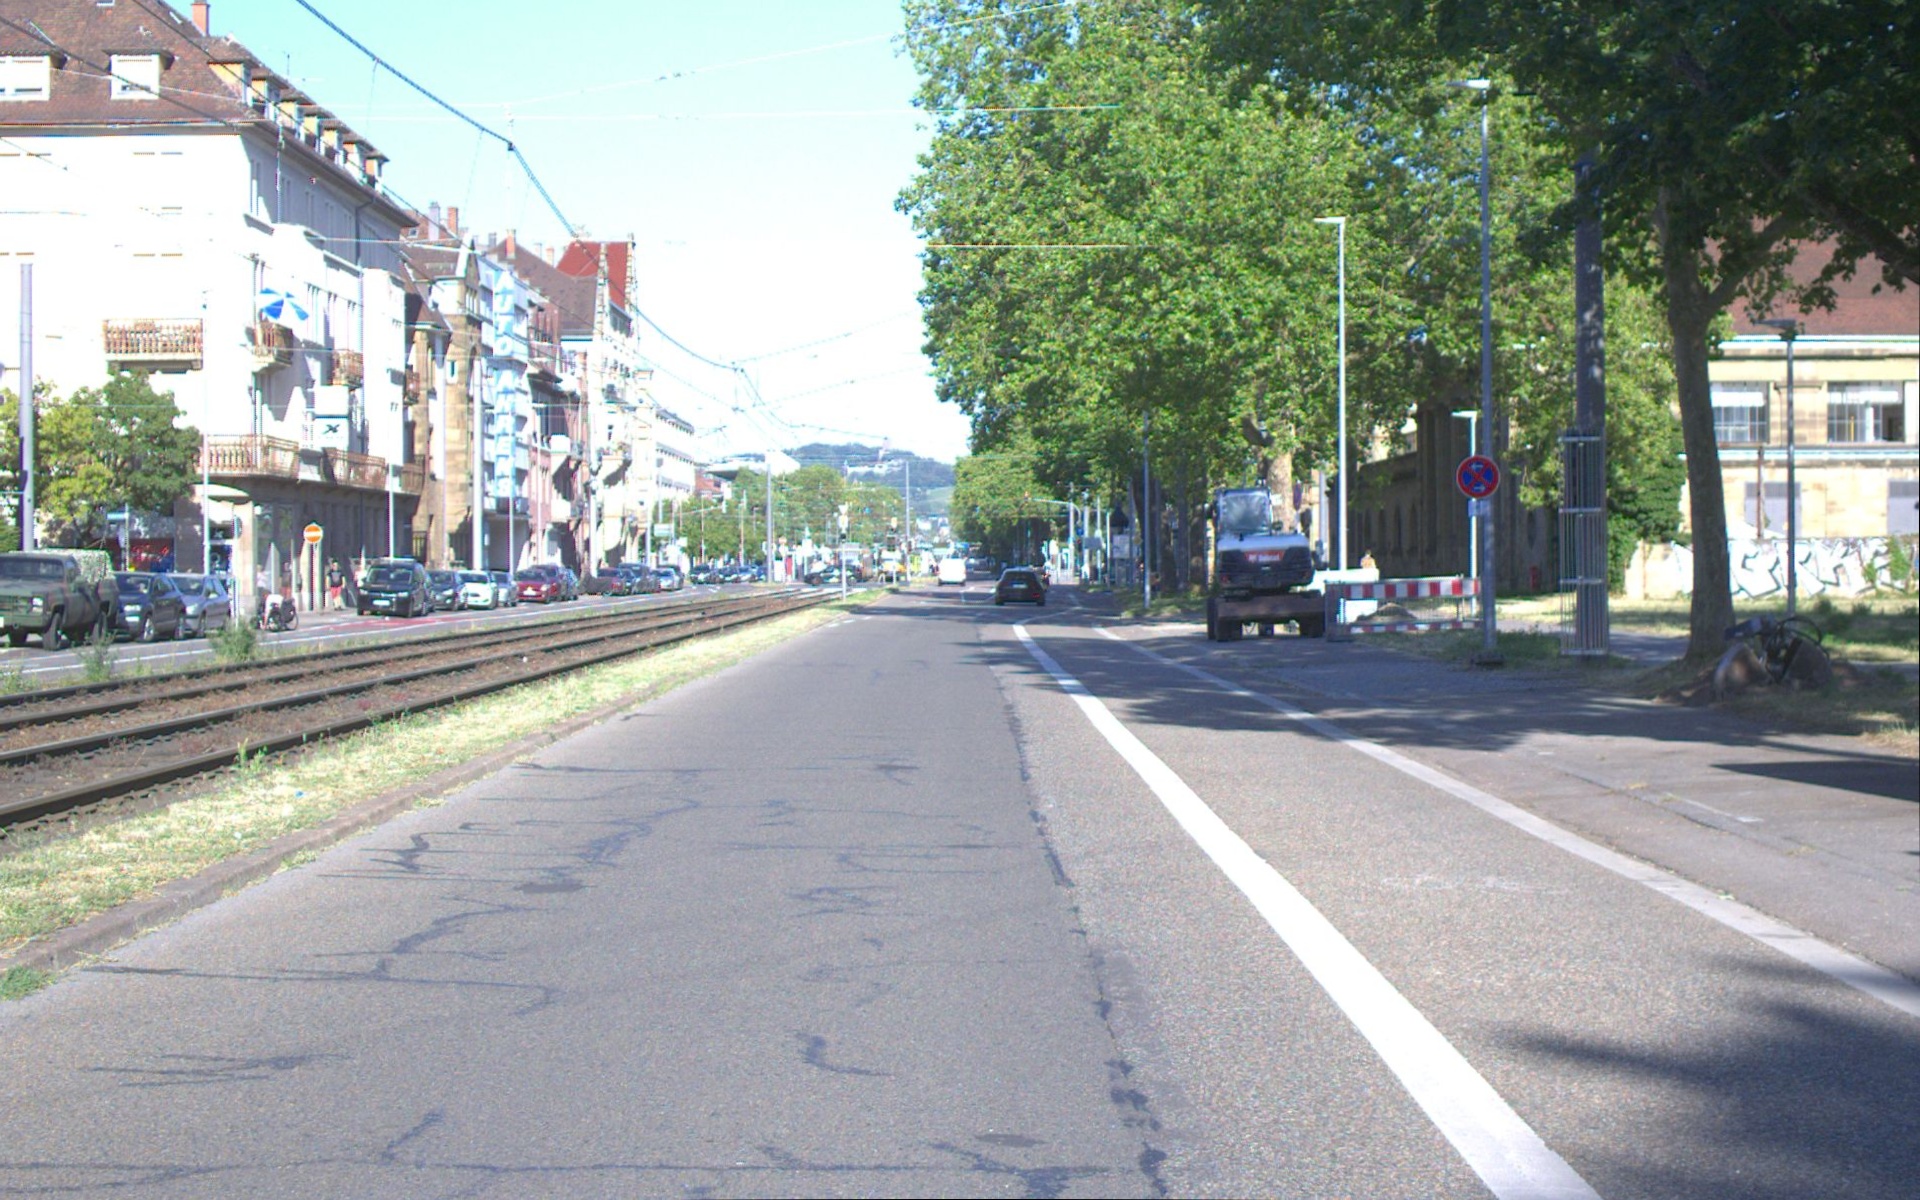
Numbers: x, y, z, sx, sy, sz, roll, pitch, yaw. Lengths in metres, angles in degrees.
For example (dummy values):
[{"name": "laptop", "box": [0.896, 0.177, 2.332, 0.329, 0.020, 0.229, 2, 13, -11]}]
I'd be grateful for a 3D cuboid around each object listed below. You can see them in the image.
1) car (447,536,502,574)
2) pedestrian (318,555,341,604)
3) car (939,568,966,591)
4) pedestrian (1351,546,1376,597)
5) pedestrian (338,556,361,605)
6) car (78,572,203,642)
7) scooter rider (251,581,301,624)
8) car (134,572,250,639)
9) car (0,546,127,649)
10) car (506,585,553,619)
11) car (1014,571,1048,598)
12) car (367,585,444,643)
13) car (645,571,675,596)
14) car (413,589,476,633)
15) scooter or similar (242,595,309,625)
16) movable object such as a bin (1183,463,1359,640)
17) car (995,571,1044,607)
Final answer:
[{"name": "car", "box": [-19.698, -1.836, 139.607, 1.635, 1.464, 4.159, 1, 1, 0]}, {"name": "pedestrian", "box": [-22.073, -0.710, 120.380, 0.589, 1.691, 0.857, 2, 0, 2]}, {"name": "car", "box": [-0.538, -1.414, 238.257, 1.794, 1.505, 4.000, 2, 0, -1]}, {"name": "pedestrian", "box": [13.572, -0.963, 115.645, 0.608, 1.676, 0.636, -4, 0, -2]}, {"name": "pedestrian", "box": [-21.375, -0.689, 120.372, 0.589, 1.691, 0.857, 2, 0, 2]}, {"name": "car", "box": [-18.258, 0.162, 76.760, 1.635, 1.502, 4.158, 1, 0, 2]}, {"name": "scooter rider", "box": [-17.830, 0.064, 89.640, 0.977, 1.085, 0.807, -1, 1, 31]}, {"name": "car", "box": [-18.443, 0.133, 82.721, 1.794, 1.505, 4.000, 2, 0, 1]}, {"name": "car", "box": [-18.955, -0.088, 70.684, 2.077, 2.003, 5.591, 2, 0, 2]}, {"name": "car", "box": [-19.003, 0.064, 151.926, 1.833, 1.386, 4.036, 3, 0, -5]}, {"name": "car", "box": [4.051, -0.892, 195.954, 1.794, 1.505, 4.000, 0, 0, -1]}, {"name": "car", "box": [-18.360, 0.447, 114.035, 1.862, 1.780, 4.402, 2, 1, -1]}, {"name": "car", "box": [-19.087, -1.048, 218.859, 1.794, 1.505, 4.001, 3, 0, -4]}, {"name": "car", "box": [-18.714, 0.376, 124.858, 1.635, 1.464, 4.159, 3, 0, -1]}, {"name": "scooter or similar", "box": [-17.864, 0.265, 89.660, 1.567, 0.768, 0.807, -1, 1, 31]}, {"name": "movable object such as a bin", "box": [6.015, -0.947, 67.515, 2.744, 3.135, 7.219, -3, 1, 1]}, {"name": "car", "box": [2.326, -0.436, 135.364, 1.833, 1.386, 4.159, 0, 0, -1]}]
